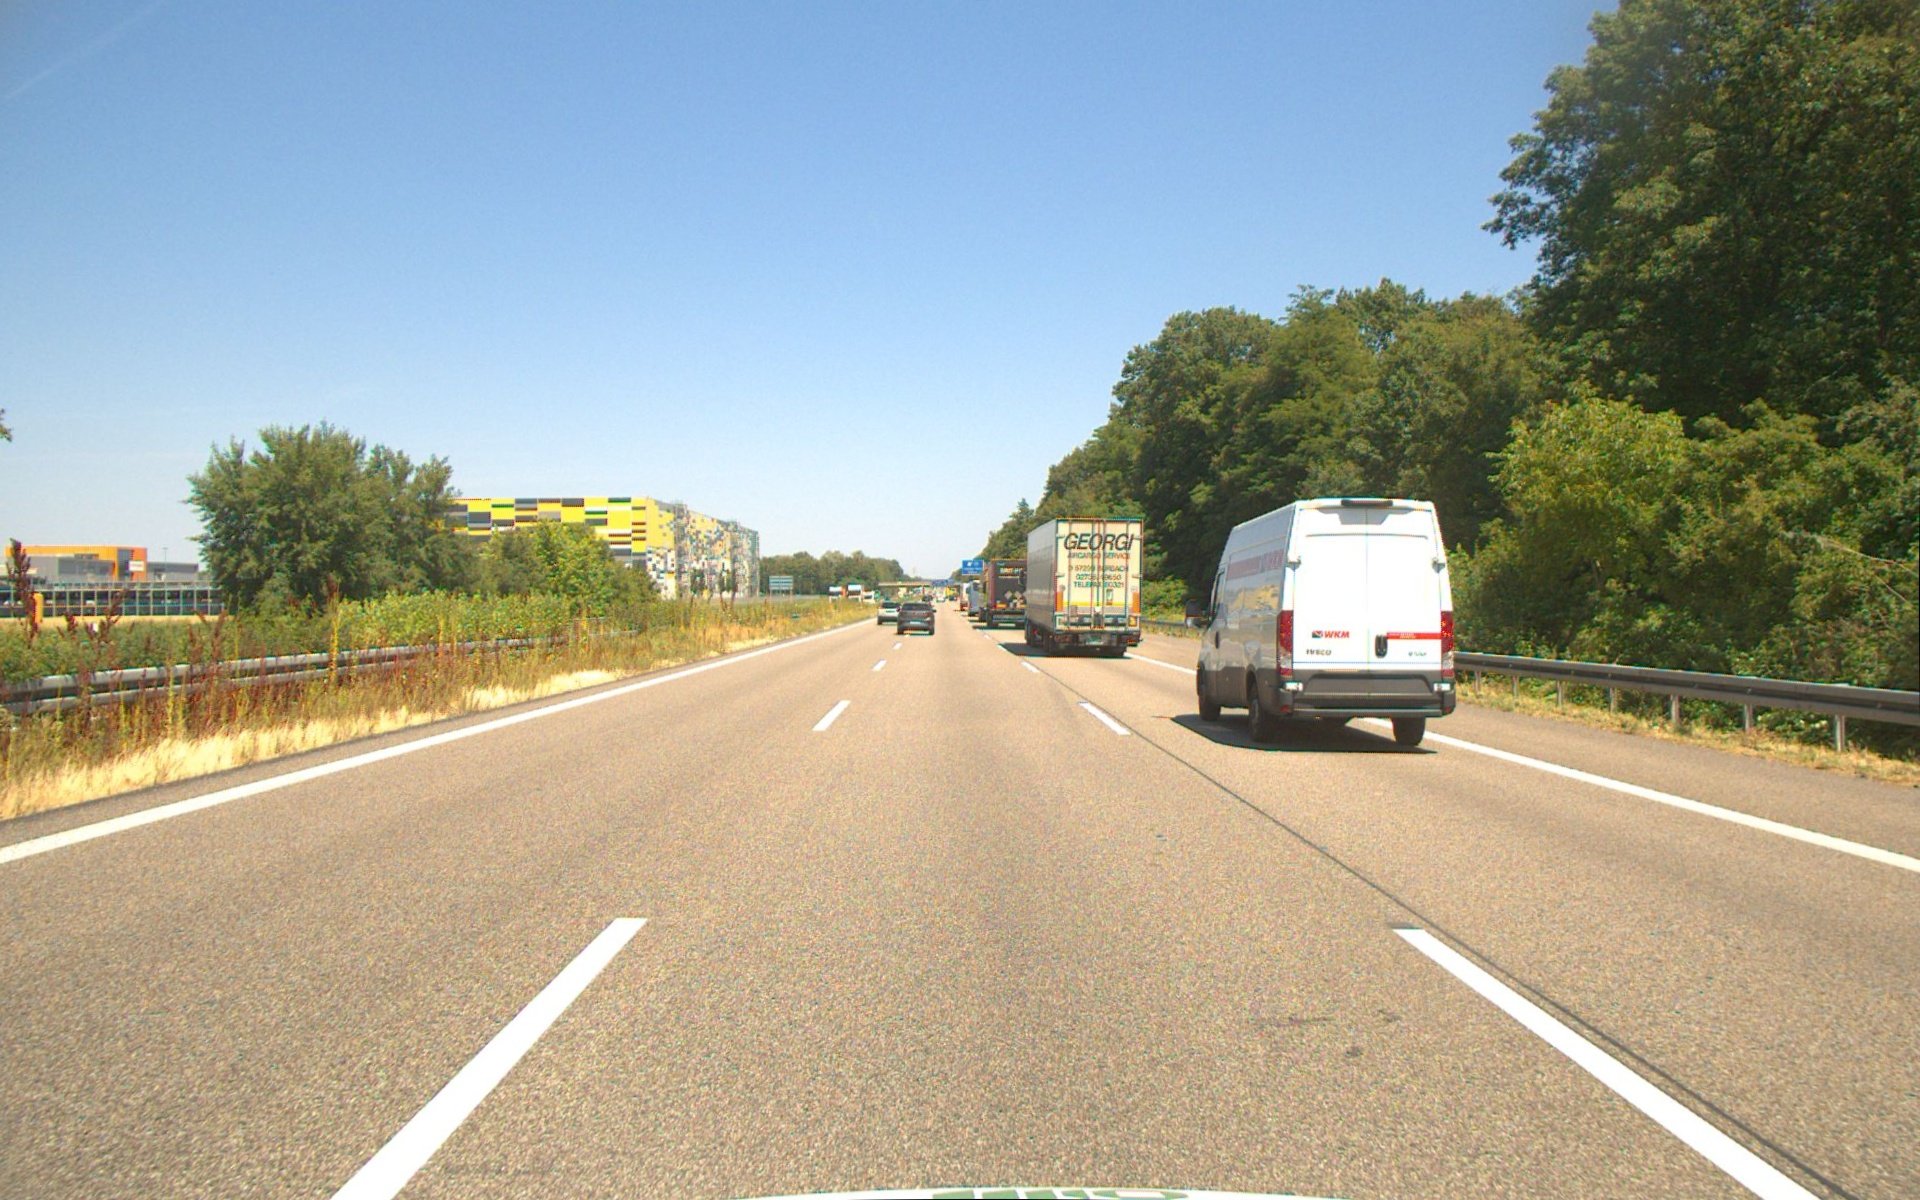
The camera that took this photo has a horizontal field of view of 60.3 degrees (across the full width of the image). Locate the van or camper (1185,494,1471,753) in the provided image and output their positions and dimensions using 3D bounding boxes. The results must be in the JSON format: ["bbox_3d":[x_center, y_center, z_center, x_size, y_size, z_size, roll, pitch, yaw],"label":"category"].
[{"bbox_3d":[4.309,0.251,20.608,1.981,2.683,6.485,1,0,-1],"label":"van or camper"}]

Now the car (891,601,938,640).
[{"bbox_3d":[-2.165,0.958,80.057,2.171,1.821,5.392,0,0,-1],"label":"car"}]

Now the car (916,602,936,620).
[{"bbox_3d":[-3.325,1.075,162.794,1.902,1.736,3.999,0,0,-1],"label":"car"}]

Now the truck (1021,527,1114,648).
[{"bbox_3d":[3.855,-0.425,60.312,2.941,4.197,5.251,0,0,-1],"label":"truck"}]

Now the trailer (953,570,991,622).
[{"bbox_3d":[0.907,-0.315,133.912,2.777,4.023,11.681,0,0,-1],"label":"trailer"}]

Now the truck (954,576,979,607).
[{"bbox_3d":[0.878,-1.185,229.215,3.352,4.198,9.564,-1,0,0],"label":"truck"}]

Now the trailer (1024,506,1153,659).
[{"bbox_3d":[3.948,-0.495,54.330,2.933,4.364,13.415,1,0,-1],"label":"trailer"}]

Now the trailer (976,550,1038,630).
[{"bbox_3d":[2.779,-0.540,102.839,3.043,4.585,14.891,1,0,-1],"label":"trailer"}]

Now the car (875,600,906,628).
[{"bbox_3d":[-4.596,0.911,109.919,1.953,1.758,4.129,0,0,-2],"label":"car"}]

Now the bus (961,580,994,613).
[{"bbox_3d":[1.822,-0.365,172.414,3.001,3.385,8.270,-1,0,-2],"label":"bus"}]
